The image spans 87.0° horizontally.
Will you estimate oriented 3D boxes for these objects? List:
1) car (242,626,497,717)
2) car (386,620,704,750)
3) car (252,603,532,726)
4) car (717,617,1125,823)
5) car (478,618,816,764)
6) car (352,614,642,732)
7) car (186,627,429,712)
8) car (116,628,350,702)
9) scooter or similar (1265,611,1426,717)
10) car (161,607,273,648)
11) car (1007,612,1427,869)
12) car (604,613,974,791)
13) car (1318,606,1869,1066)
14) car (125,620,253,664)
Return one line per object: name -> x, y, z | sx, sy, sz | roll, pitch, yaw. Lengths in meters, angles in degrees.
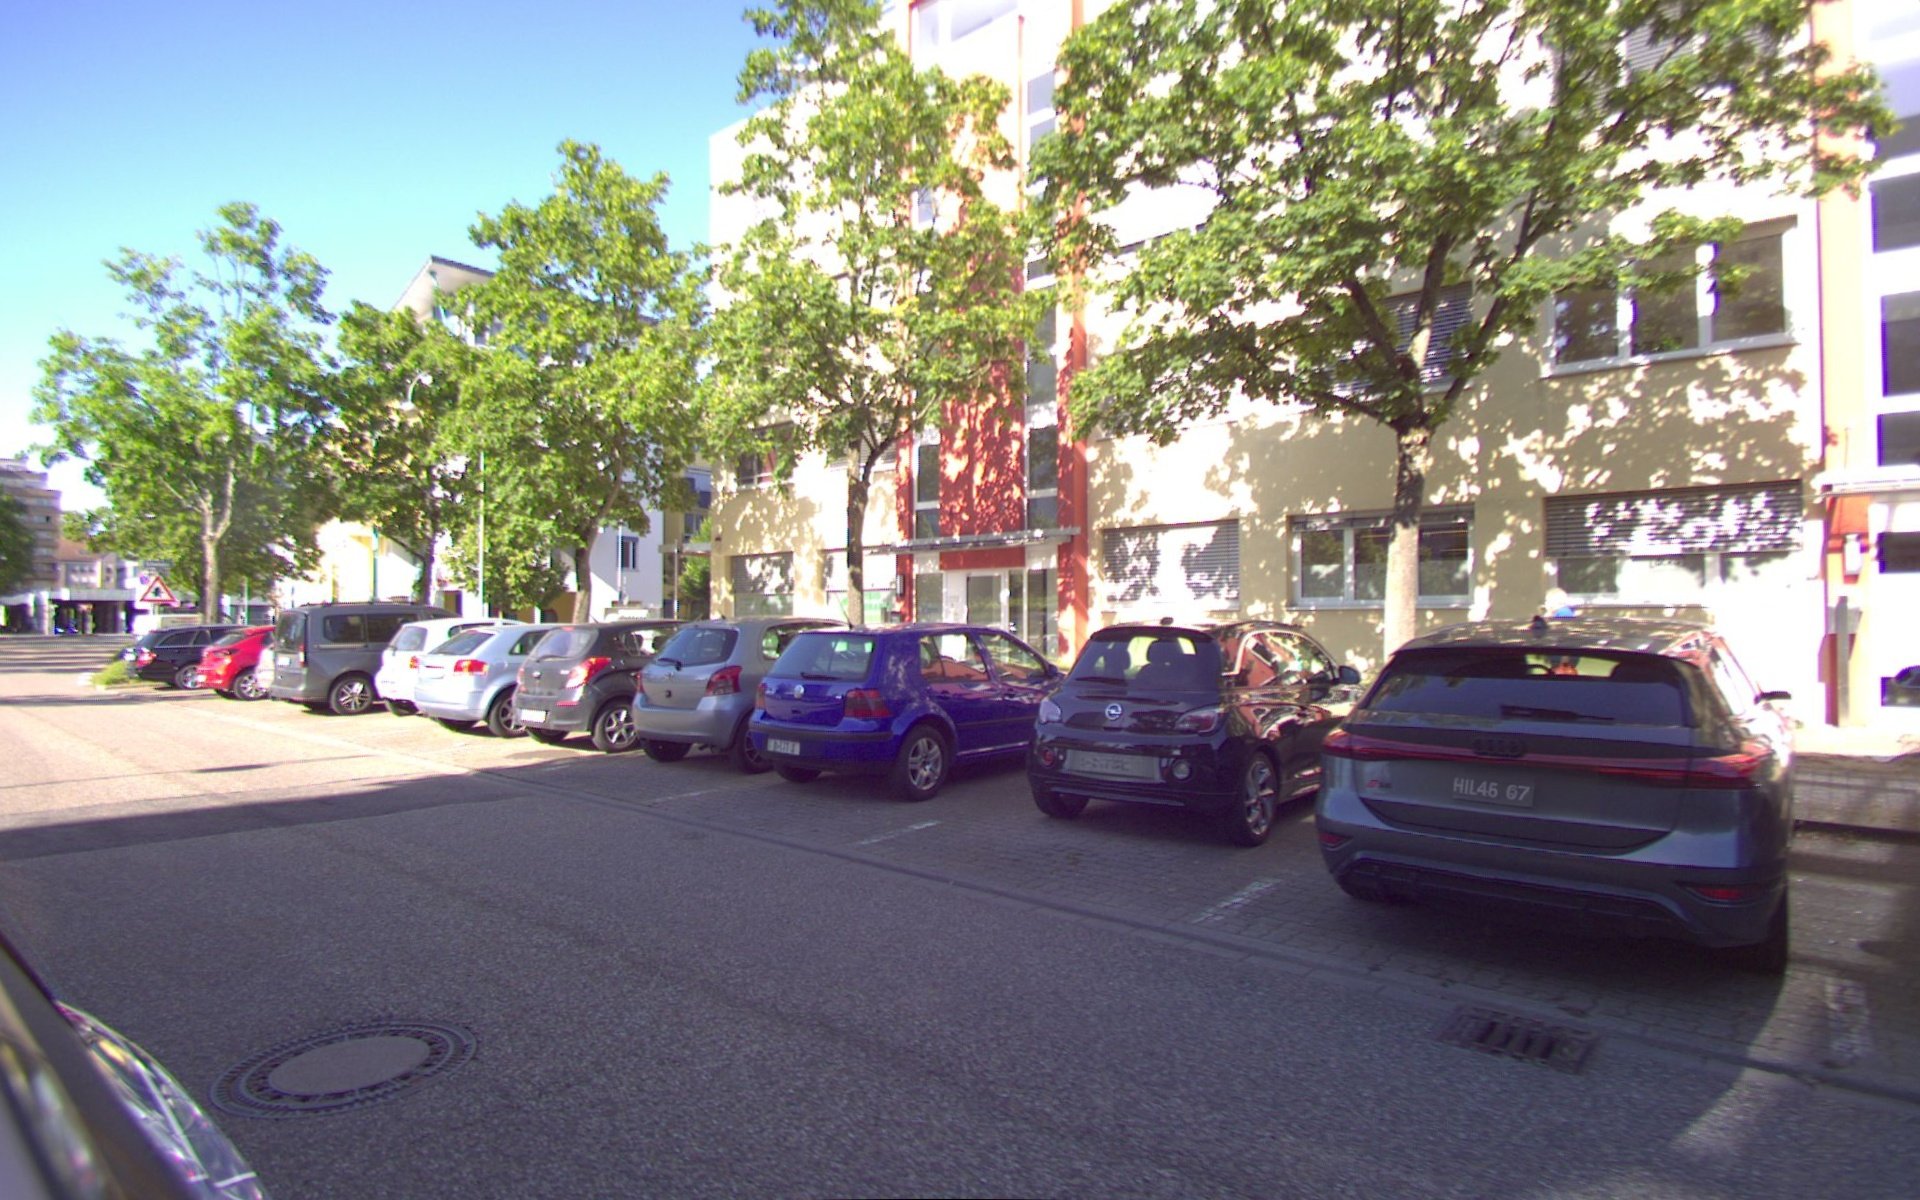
car -> -11.126, 1.265, 19.257 | 1.738, 1.434, 3.851 | -2, 0, 41
car -> -5.676, 1.064, 14.182 | 1.873, 1.458, 3.692 | -2, 0, 37
car -> -9.715, 1.000, 17.516 | 1.785, 1.825, 3.851 | -2, 0, 41
car -> -0.200, 0.932, 9.519 | 1.839, 1.438, 3.689 | -2, 0, 40
car -> -3.799, 1.009, 12.765 | 1.857, 1.458, 3.692 | -2, 0, 37
car -> -7.396, 1.076, 16.428 | 1.858, 1.586, 3.851 | -2, 0, 41
car -> -13.245, 1.339, 20.697 | 1.738, 1.434, 3.851 | -2, 0, 41
car -> -16.910, 1.434, 23.674 | 1.740, 1.434, 4.215 | -2, 0, 44
scooter or similar -> 5.618, 0.906, 14.849 | 2.108, 1.457, 0.647 | -2, -3, 41
car -> -47.820, 1.738, 65.273 | 2.175, 2.455, 5.456 | -2, -1, 26
car -> 2.198, 0.862, 7.965 | 1.771, 1.438, 3.689 | -2, 0, 40
car -> -1.730, 0.953, 11.111 | 1.858, 1.520, 3.689 | -2, 0, 40
car -> 3.630, 0.798, 5.580 | 1.770, 1.438, 4.360 | -2, 0, 39
car -> -37.605, 1.996, 49.509 | 1.983, 2.000, 4.743 | -2, -1, 17
